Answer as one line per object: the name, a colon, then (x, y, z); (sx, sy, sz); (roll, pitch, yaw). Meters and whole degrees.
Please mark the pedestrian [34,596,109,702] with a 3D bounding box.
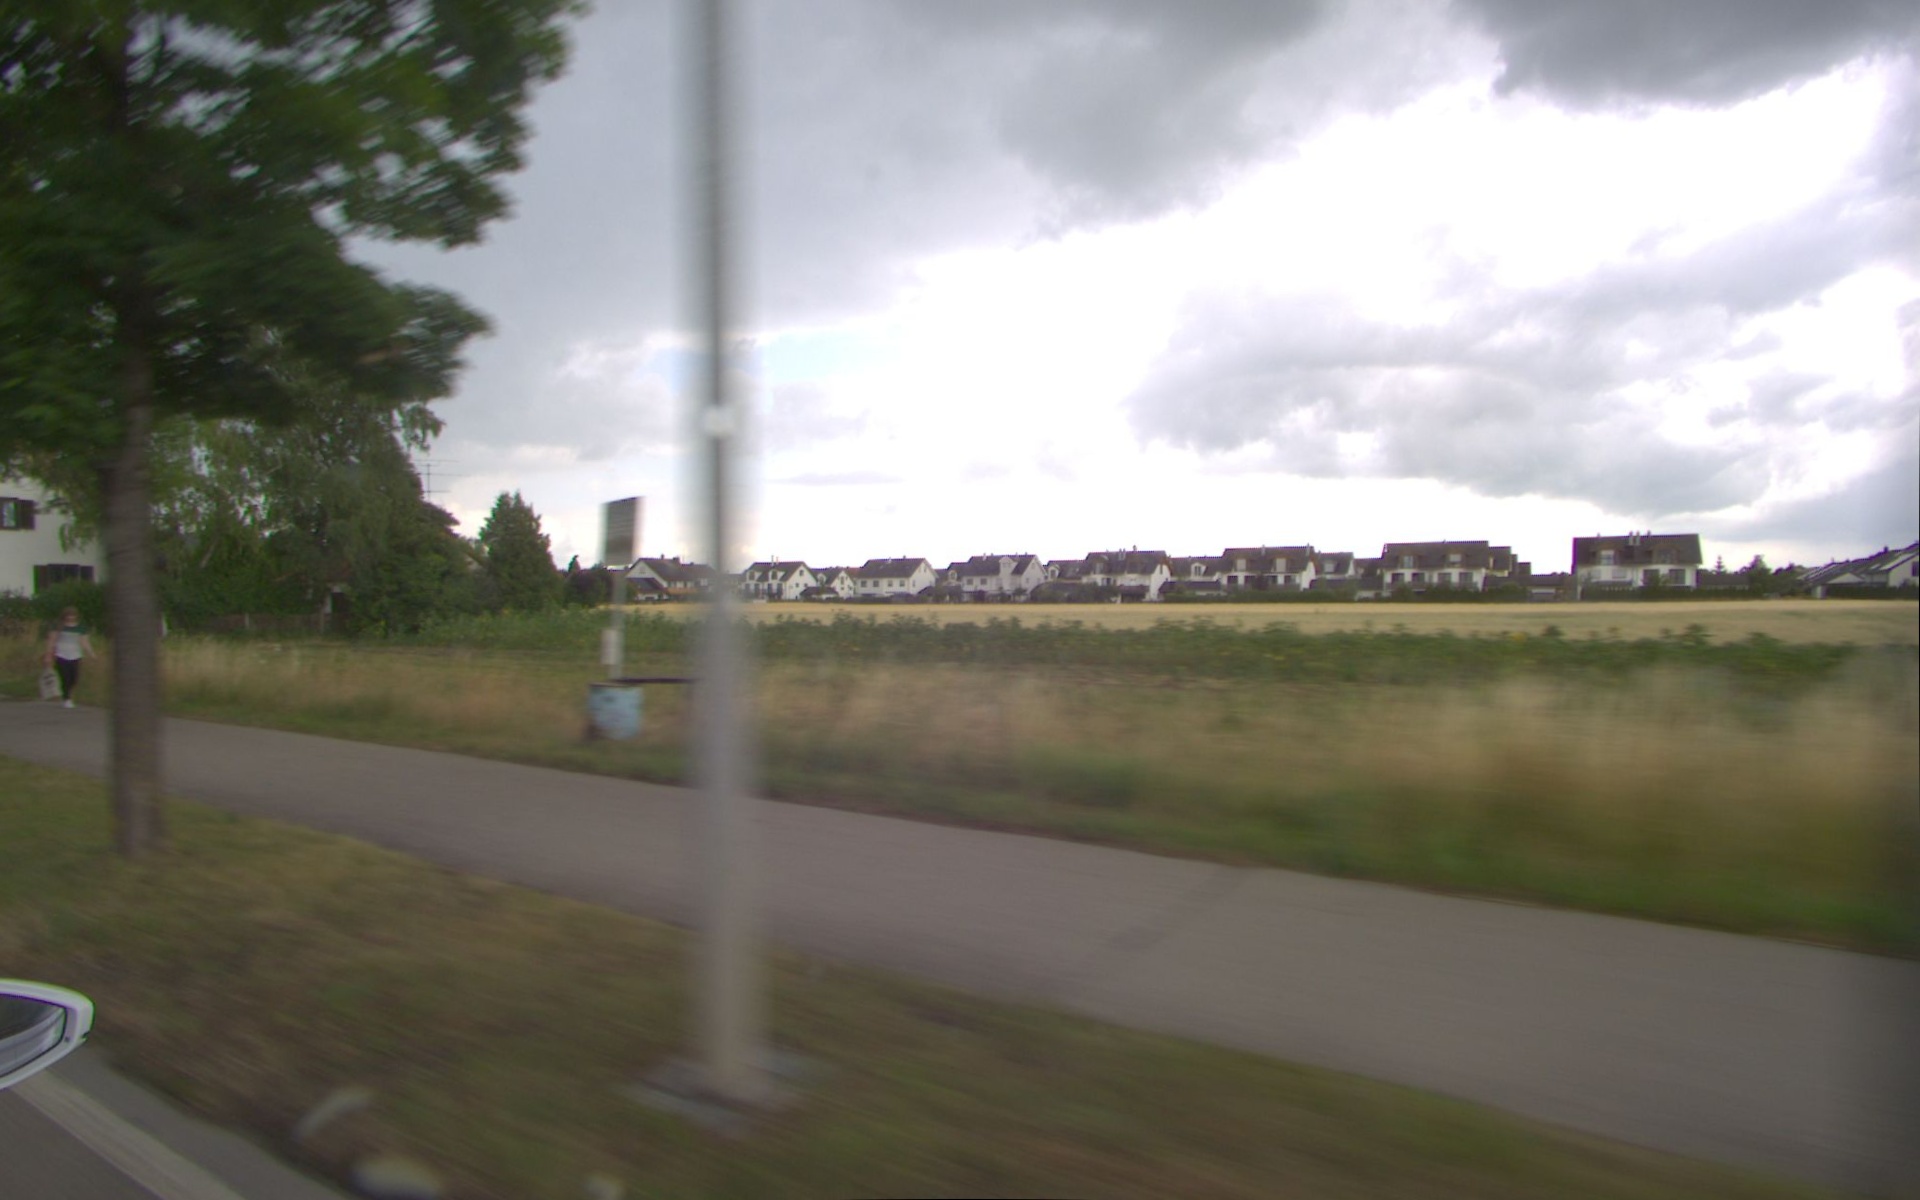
pedestrian: (-15.465, 0.837, 17.431); (0.858, 1.778, 0.834); (0, 0, 38)
